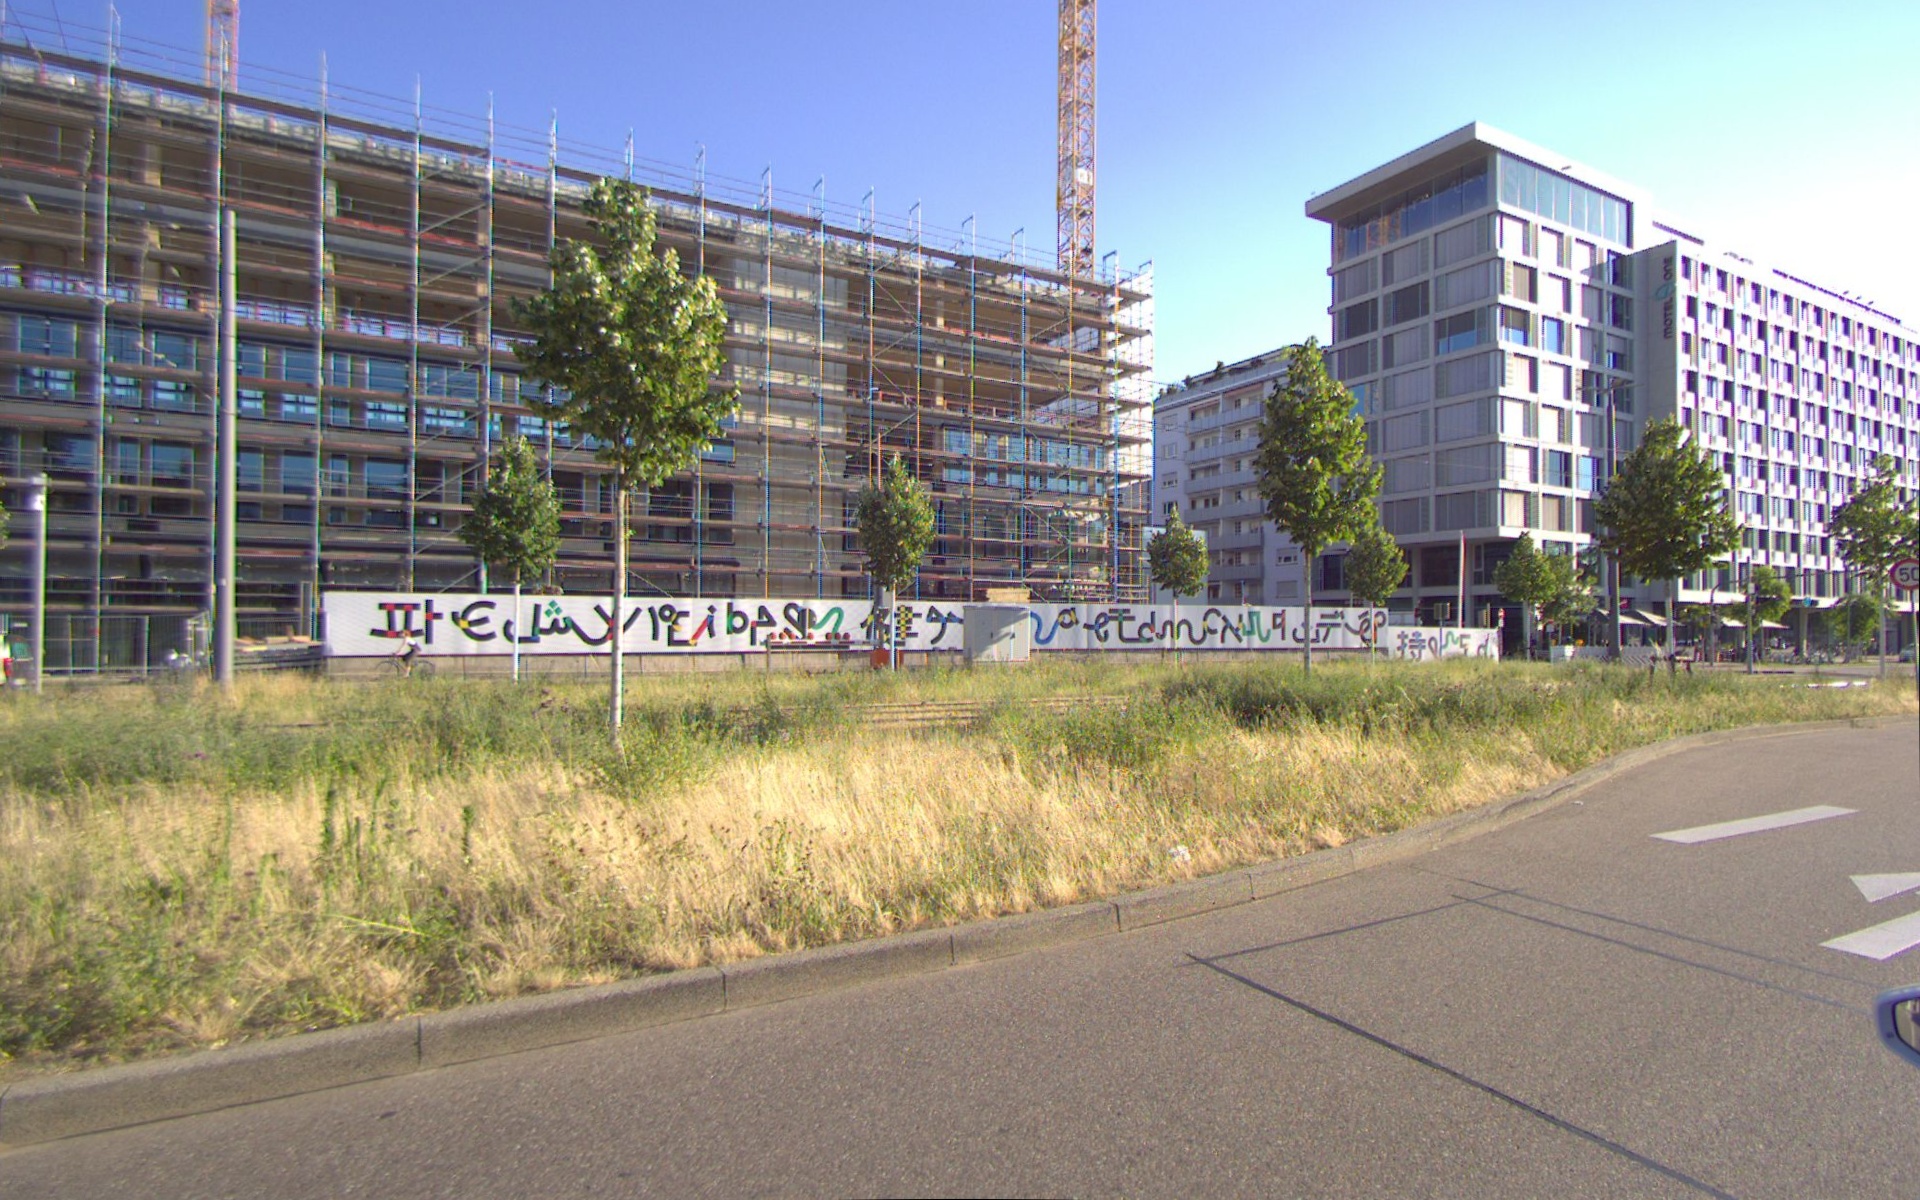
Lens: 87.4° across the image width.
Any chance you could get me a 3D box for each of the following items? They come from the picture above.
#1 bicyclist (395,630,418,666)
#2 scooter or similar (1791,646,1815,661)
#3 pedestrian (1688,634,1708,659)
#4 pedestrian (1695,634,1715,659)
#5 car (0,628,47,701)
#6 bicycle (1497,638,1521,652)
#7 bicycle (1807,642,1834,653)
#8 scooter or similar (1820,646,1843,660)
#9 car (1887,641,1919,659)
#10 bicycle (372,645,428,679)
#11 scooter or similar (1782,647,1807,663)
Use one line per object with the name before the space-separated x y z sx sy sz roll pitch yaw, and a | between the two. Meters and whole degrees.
bicyclist | -18.062 1.550 32.761 0.631 1.169 0.476 1 -2 -30
scooter or similar | 60.185 3.813 71.684 0.429 1.032 1.238 1 -2 -28
pedestrian | 51.900 3.266 70.627 0.791 1.744 0.868 1 -1 -20
pedestrian | 52.615 3.283 70.955 0.791 1.744 0.868 1 -1 -20
car | -22.483 1.395 21.668 3.796 1.578 1.597 1 -2 -30
bicycle | 37.958 3.128 69.427 1.879 0.948 0.533 1 -2 -31
bicycle | 77.155 4.237 90.044 0.507 0.917 1.792 1 -2 -35
scooter or similar | 64.102 3.911 73.876 0.429 1.032 1.238 1 -2 -28
car | 76.919 4.027 81.238 3.952 1.345 1.749 1 -1 -30
bicycle | -18.212 2.013 32.686 1.545 1.075 0.476 1 -2 -30
scooter or similar | 58.893 3.878 70.900 0.504 1.032 1.238 1 -2 -28
